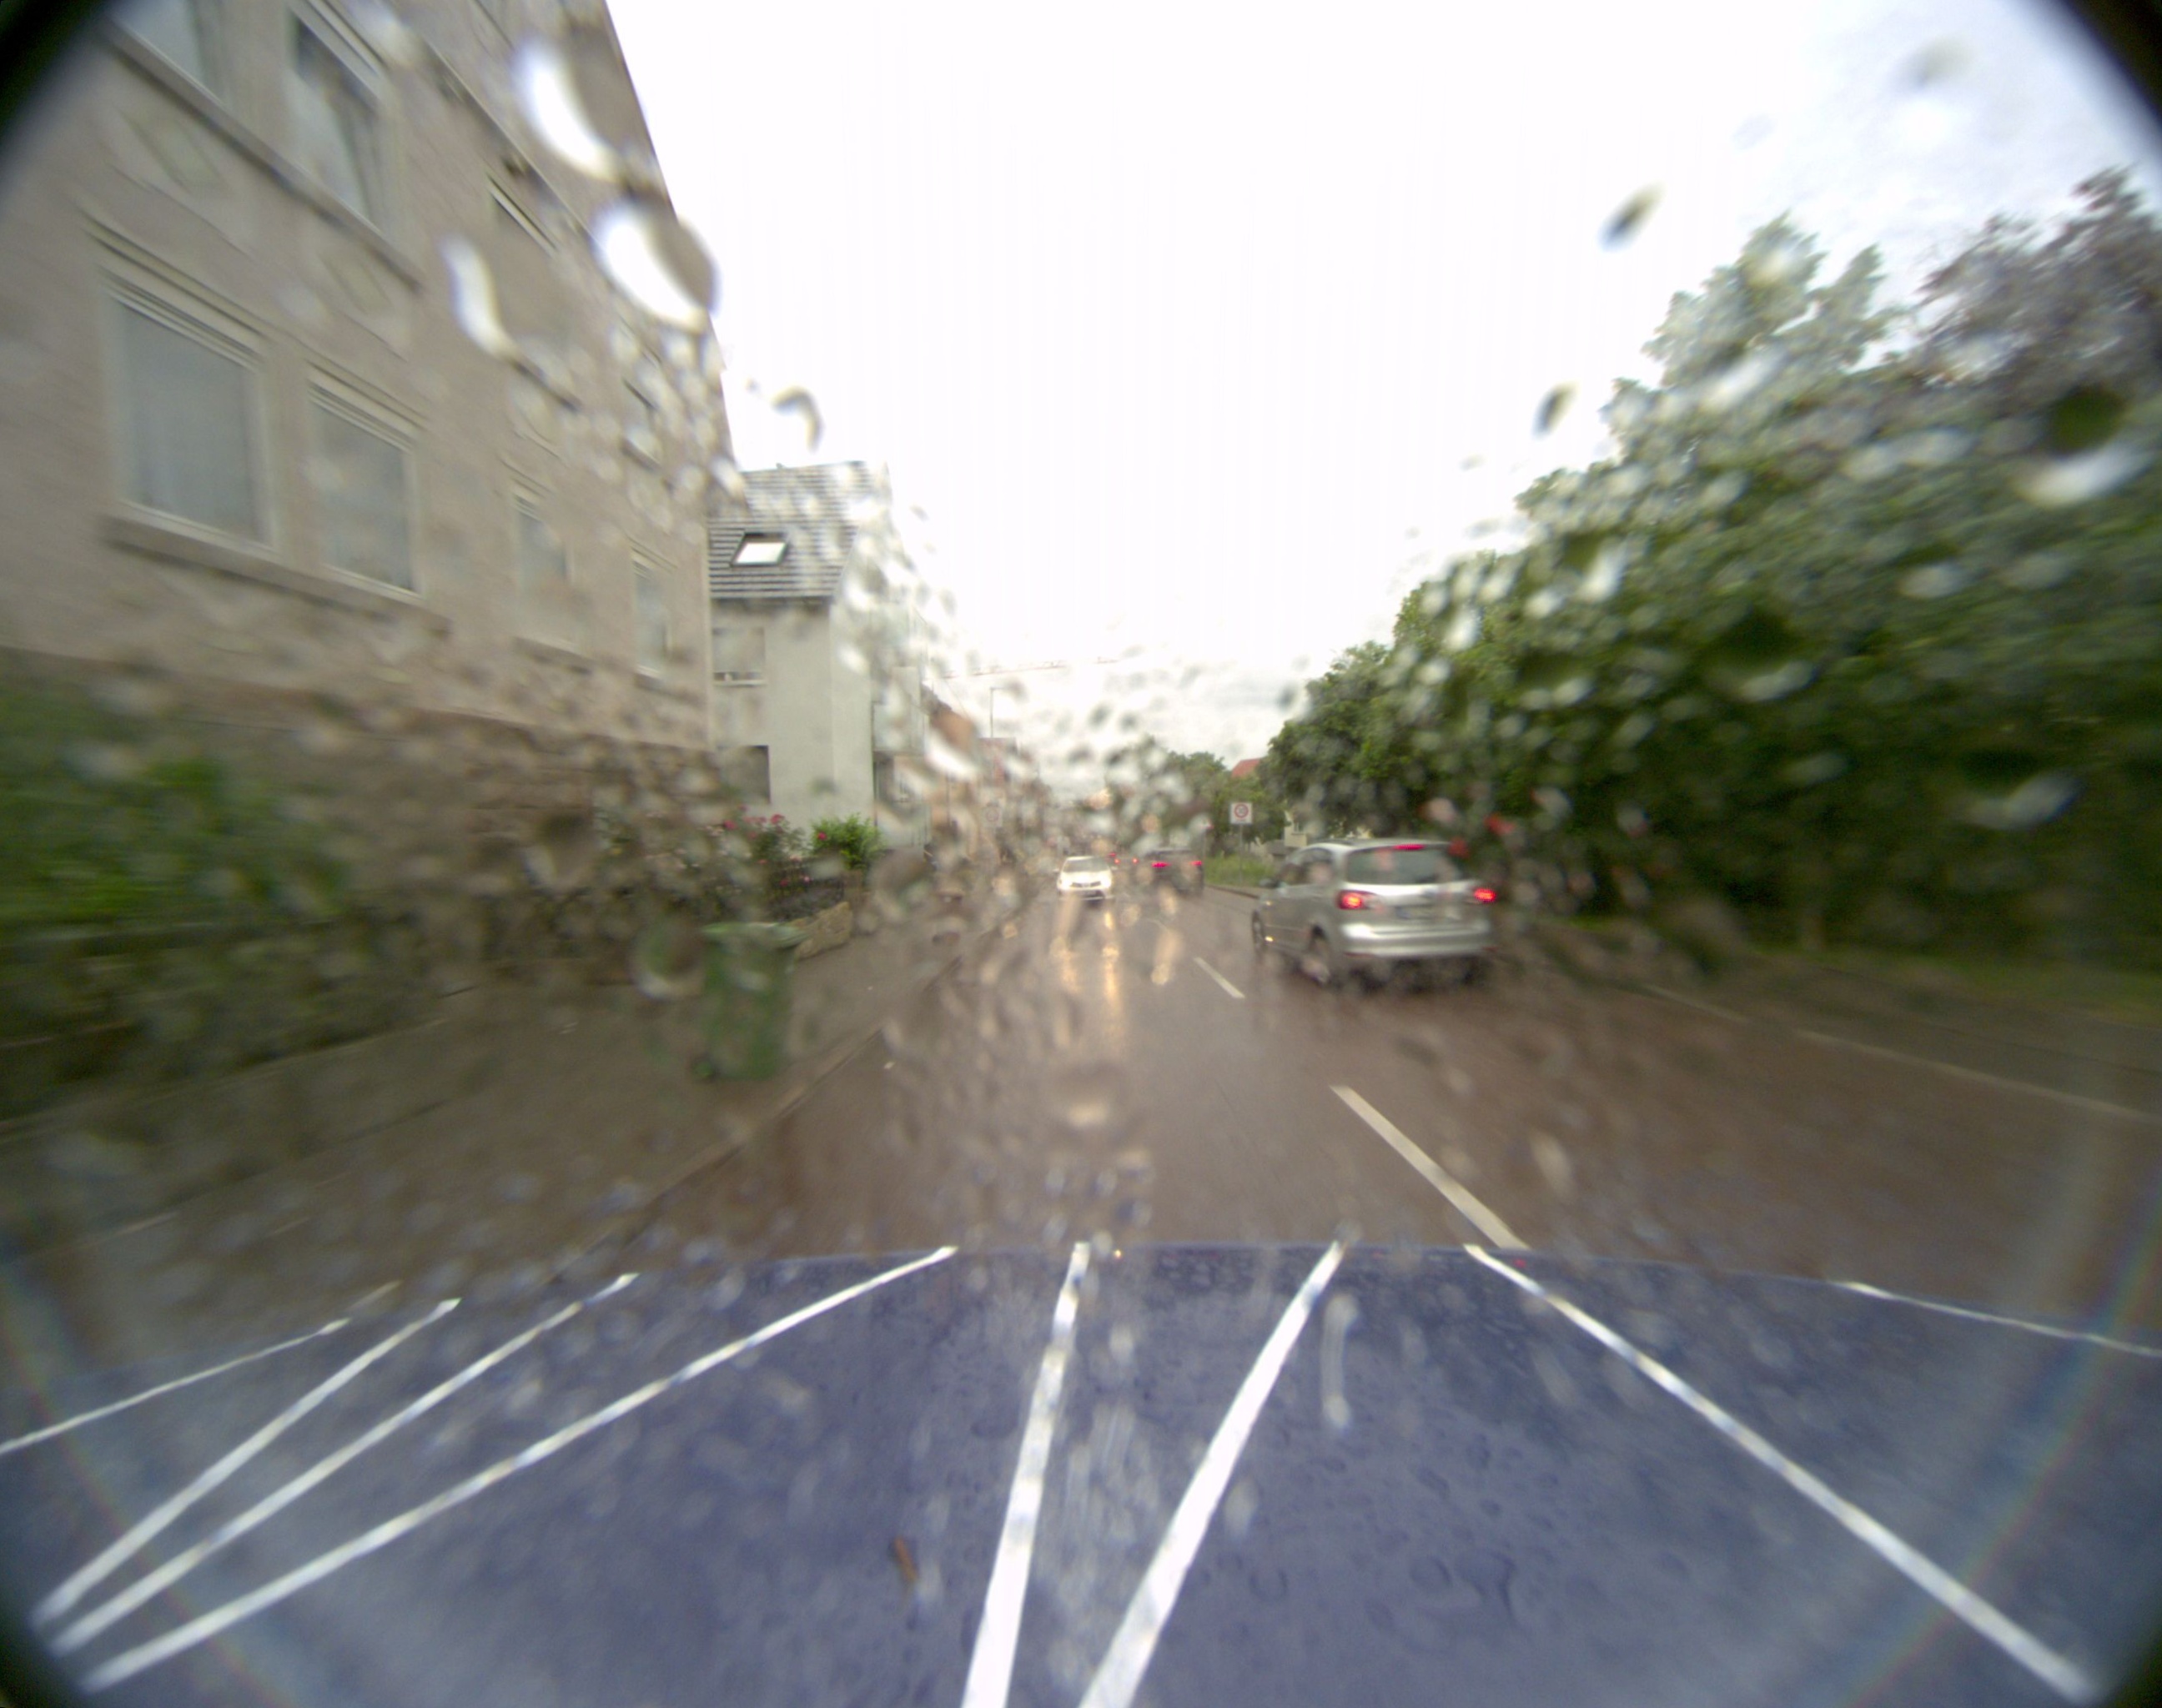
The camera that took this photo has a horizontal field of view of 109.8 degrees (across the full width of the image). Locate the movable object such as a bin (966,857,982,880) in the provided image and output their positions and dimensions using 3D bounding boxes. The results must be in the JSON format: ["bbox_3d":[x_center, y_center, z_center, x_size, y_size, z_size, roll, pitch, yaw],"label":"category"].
[{"bbox_3d":[-5.356,0.715,38.039,0.662,1.087,0.545,3,1,-2],"label":"movable object such as a bin"}]

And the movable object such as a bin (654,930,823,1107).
[{"bbox_3d":[-2.375,1.118,5.361,0.798,1.064,0.761,-2,1,2],"label":"movable object such as a bin"}]

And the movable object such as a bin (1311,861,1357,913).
[{"bbox_3d":[5.666,0.721,17.053,0.722,1.093,0.757,-3,1,0],"label":"movable object such as a bin"}]

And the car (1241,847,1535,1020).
[{"bbox_3d":[3.257,0.721,8.956,1.809,1.545,3.828,-2,1,-1],"label":"car"}]

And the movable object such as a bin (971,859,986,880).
[{"bbox_3d":[-5.479,0.834,40.650,0.662,1.087,0.655,2,1,-2],"label":"movable object such as a bin"}]

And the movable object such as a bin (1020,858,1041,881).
[{"bbox_3d":[-2.473,0.766,37.120,0.916,1.097,0.702,-2,1,2],"label":"movable object such as a bin"}]

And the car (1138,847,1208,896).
[{"bbox_3d":[3.264,0.570,27.743,1.923,1.614,4.362,-2,1,-1],"label":"car"}]

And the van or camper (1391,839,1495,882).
[{"bbox_3d":[23.092,0.417,48.765,1.643,2.542,6.051,-4,2,-31],"label":"van or camper"}]

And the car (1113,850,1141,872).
[{"bbox_3d":[3.245,0.468,53.842,1.622,1.433,3.736,-2,1,-1],"label":"car"}]

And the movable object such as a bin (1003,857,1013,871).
[{"bbox_3d":[-5.293,0.731,54.948,0.611,0.961,0.792,5,1,-2],"label":"movable object such as a bin"}]

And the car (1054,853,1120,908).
[{"bbox_3d":[0.173,0.754,23.864,1.859,1.427,4.016,-3,1,0],"label":"car"}]

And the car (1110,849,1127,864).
[{"bbox_3d":[3.966,0.237,80.051,1.723,1.421,3.845,-1,1,3],"label":"car"}]

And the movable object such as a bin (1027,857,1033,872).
[{"bbox_3d":[-3.672,0.758,54.529,0.380,1.012,0.487,-2,1,0],"label":"movable object such as a bin"}]

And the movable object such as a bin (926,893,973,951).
[{"bbox_3d":[-2.203,1.139,12.800,0.632,0.892,0.712,-2,1,0],"label":"movable object such as a bin"}]

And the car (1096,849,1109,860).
[{"bbox_3d":[2.815,0.043,101.994,1.564,1.446,4.084,-2,1,0],"label":"car"}]
